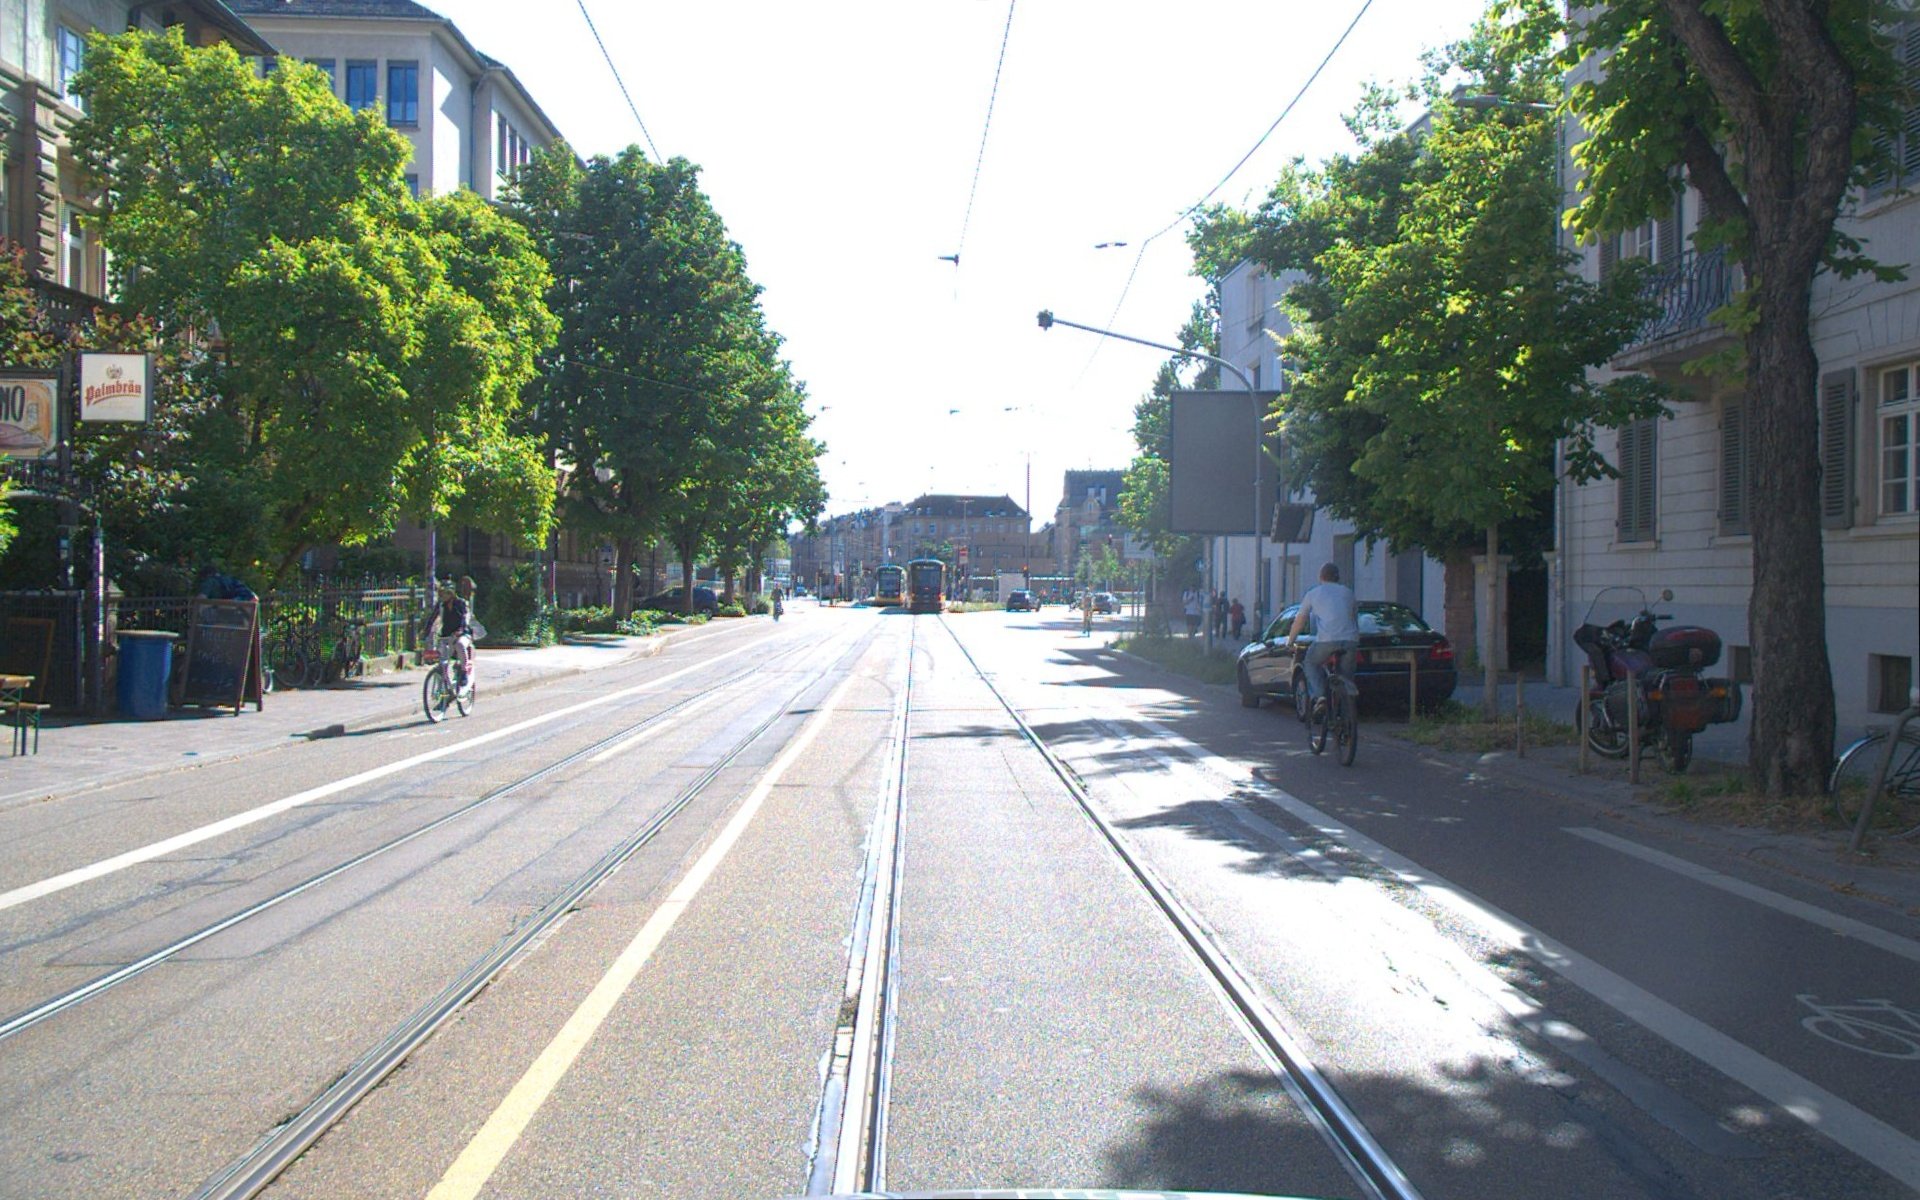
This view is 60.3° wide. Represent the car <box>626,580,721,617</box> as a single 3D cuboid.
[{"bbox_3d":[-13.248,-0.062,76.507,3.943,1.577,1.860,2,0,-29],"label":"car"}]

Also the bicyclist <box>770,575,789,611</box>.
[{"bbox_3d":[-8.567,-0.346,78.346,0.672,1.673,1.238,-1,0,3],"label":"bicyclist"}]

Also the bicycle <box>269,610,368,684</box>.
[{"bbox_3d":[-9.915,0.711,25.638,0.577,1.064,1.906,2,0,7],"label":"bicycle"}]

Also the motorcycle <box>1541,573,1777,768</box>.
[{"bbox_3d":[5.991,0.550,14.401,0.895,1.514,2.679,-1,0,0],"label":"motorcycle"}]

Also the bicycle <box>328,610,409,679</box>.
[{"bbox_3d":[-9.872,0.720,27.655,0.577,1.064,1.905,2,0,2],"label":"bicycle"}]

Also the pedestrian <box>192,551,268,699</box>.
[{"bbox_3d":[-9.411,0.316,21.328,0.563,1.863,0.690,1,0,17],"label":"pedestrian"}]

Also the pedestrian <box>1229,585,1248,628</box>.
[{"bbox_3d":[9.346,0.203,55.465,0.507,1.429,0.765,0,0,1],"label":"pedestrian"}]

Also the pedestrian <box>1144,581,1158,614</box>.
[{"bbox_3d":[11.289,-0.166,97.673,0.624,1.937,1.134,-2,0,0],"label":"pedestrian"}]

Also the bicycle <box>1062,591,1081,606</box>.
[{"bbox_3d":[8.492,-0.149,125.442,0.691,1.073,2.313,3,2,23],"label":"bicycle"}]

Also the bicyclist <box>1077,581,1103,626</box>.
[{"bbox_3d":[5.000,0.133,63.762,0.690,1.704,1.102,2,1,18],"label":"bicyclist"}]

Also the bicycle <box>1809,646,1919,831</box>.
[{"bbox_3d":[6.221,0.829,10.229,1.586,1.061,0.685,-1,0,-1],"label":"bicycle"}]

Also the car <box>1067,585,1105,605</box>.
[{"bbox_3d":[11.045,-0.437,145.081,1.672,1.672,3.701,2,1,33],"label":"car"}]

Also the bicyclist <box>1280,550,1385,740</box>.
[{"bbox_3d":[3.515,0.410,15.680,0.723,1.715,0.972,2,0,0],"label":"bicyclist"}]

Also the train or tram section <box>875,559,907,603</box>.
[{"bbox_3d":[-6.178,-1.739,148.863,2.687,3.715,13.780,1,1,-2],"label":"train or tram section"}]

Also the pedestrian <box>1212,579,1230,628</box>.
[{"bbox_3d":[8.787,0.109,55.623,0.507,1.628,0.765,0,0,1],"label":"pedestrian"}]

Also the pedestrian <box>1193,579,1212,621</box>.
[{"bbox_3d":[10.600,-0.014,72.310,0.633,1.793,0.957,-4,0,13],"label":"pedestrian"}]

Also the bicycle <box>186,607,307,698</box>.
[{"bbox_3d":[-9.931,0.705,23.103,0.632,1.163,1.906,3,0,7],"label":"bicycle"}]

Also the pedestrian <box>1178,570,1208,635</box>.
[{"bbox_3d":[6.763,0.070,48.068,0.670,1.882,0.955,-1,0,-3],"label":"pedestrian"}]

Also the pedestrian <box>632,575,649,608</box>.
[{"bbox_3d":[-16.908,-0.450,87.554,0.686,1.663,0.759,3,0,-2],"label":"pedestrian"}]

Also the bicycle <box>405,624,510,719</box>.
[{"bbox_3d":[-6.476,0.903,21.415,0.730,1.100,1.899,-2,0,0],"label":"bicycle"}]

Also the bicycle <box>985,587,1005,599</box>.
[{"bbox_3d":[3.467,-0.726,164.889,1.895,1.122,0.598,1,1,-4],"label":"bicycle"}]

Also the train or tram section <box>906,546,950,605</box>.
[{"bbox_3d":[-2.283,-1.684,113.202,2.687,3.715,13.780,1,1,-2],"label":"train or tram section"}]

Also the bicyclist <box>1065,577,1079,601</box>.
[{"bbox_3d":[8.516,-0.837,125.411,0.691,1.730,0.987,3,1,23],"label":"bicyclist"}]

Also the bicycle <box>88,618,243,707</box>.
[{"bbox_3d":[-10.241,0.777,21.407,0.623,1.064,2.023,1,0,15],"label":"bicycle"}]

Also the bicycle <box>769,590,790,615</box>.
[{"bbox_3d":[-8.557,0.127,78.366,0.672,1.144,1.932,-1,0,3],"label":"bicycle"}]

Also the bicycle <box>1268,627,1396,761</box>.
[{"bbox_3d":[3.501,0.855,15.744,0.723,1.113,2.111,2,0,0],"label":"bicycle"}]

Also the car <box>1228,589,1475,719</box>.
[{"bbox_3d":[5.047,0.621,22.044,1.786,1.484,4.814,-1,1,-5],"label":"car"}]

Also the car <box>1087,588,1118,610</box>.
[{"bbox_3d":[10.710,-0.072,123.805,1.751,1.537,3.716,2,1,13],"label":"car"}]

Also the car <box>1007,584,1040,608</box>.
[{"bbox_3d":[4.724,-0.306,122.504,1.751,1.632,3.716,2,1,12],"label":"car"}]

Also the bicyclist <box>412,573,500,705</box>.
[{"bbox_3d":[-6.493,0.492,21.369,0.730,1.627,1.118,-2,0,0],"label":"bicyclist"}]

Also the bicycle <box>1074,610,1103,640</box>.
[{"bbox_3d":[4.971,0.958,63.772,0.690,1.124,1.718,2,1,18],"label":"bicycle"}]
